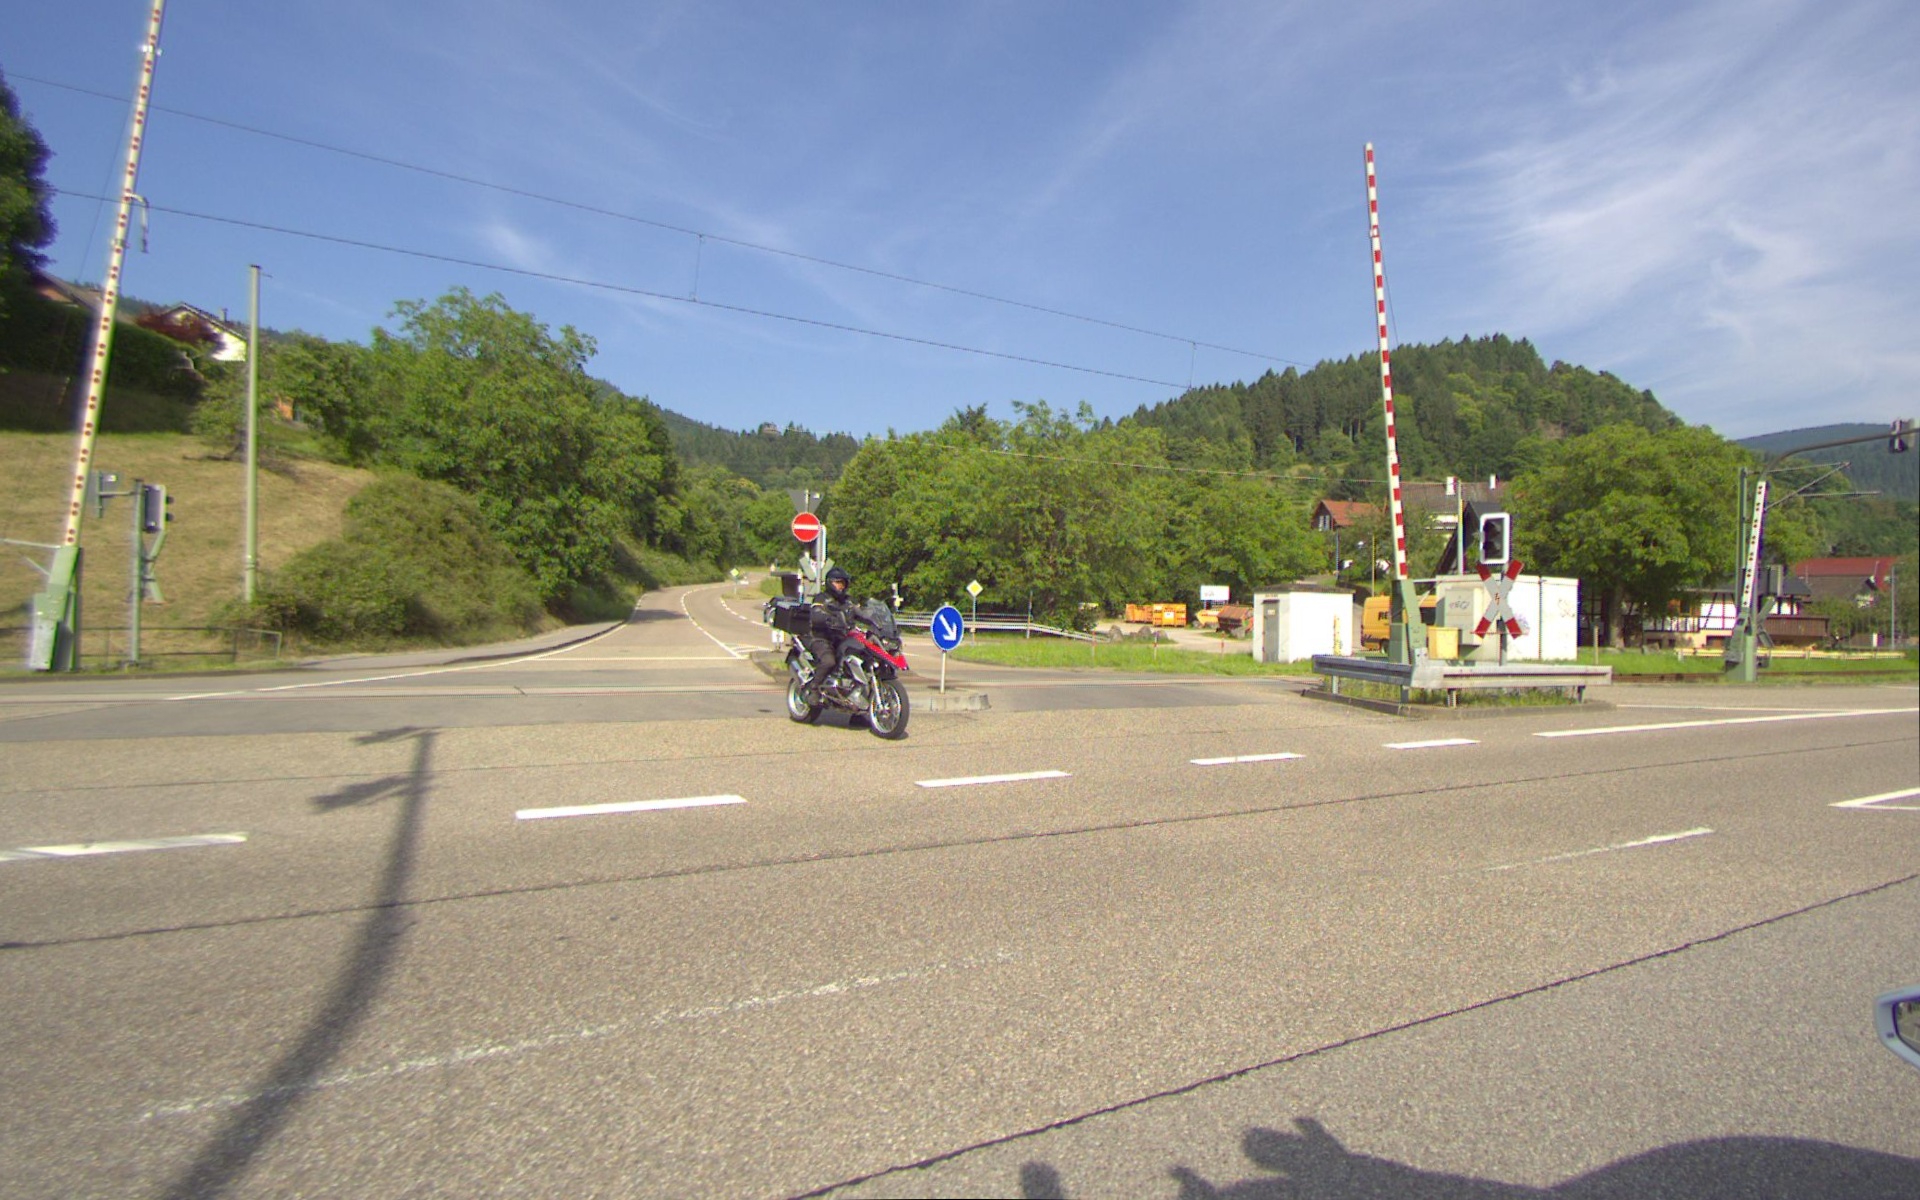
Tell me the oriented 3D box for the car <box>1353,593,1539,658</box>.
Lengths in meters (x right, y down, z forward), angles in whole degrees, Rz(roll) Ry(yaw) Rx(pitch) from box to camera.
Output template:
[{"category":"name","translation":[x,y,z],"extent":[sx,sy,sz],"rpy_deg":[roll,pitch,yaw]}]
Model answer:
[{"category":"car","translation":[20.369,1.006,42.639],"extent":[2.904,2.489,7.052],"rpy_deg":[1,0,-21]}]

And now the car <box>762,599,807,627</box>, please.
[{"category":"car","translation":[-10.186,0.748,58.090],"extent":[1.920,1.550,3.982],"rpy_deg":[2,-1,-19]}]

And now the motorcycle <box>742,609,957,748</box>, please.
[{"category":"motorcycle","translation":[-1.298,0.800,11.260],"extent":[0.999,1.285,2.559],"rpy_deg":[1,1,-44]}]

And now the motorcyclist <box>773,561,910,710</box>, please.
[{"category":"motorcyclist","translation":[-1.340,0.368,11.310],"extent":[0.985,1.565,1.170],"rpy_deg":[1,1,-44]}]
